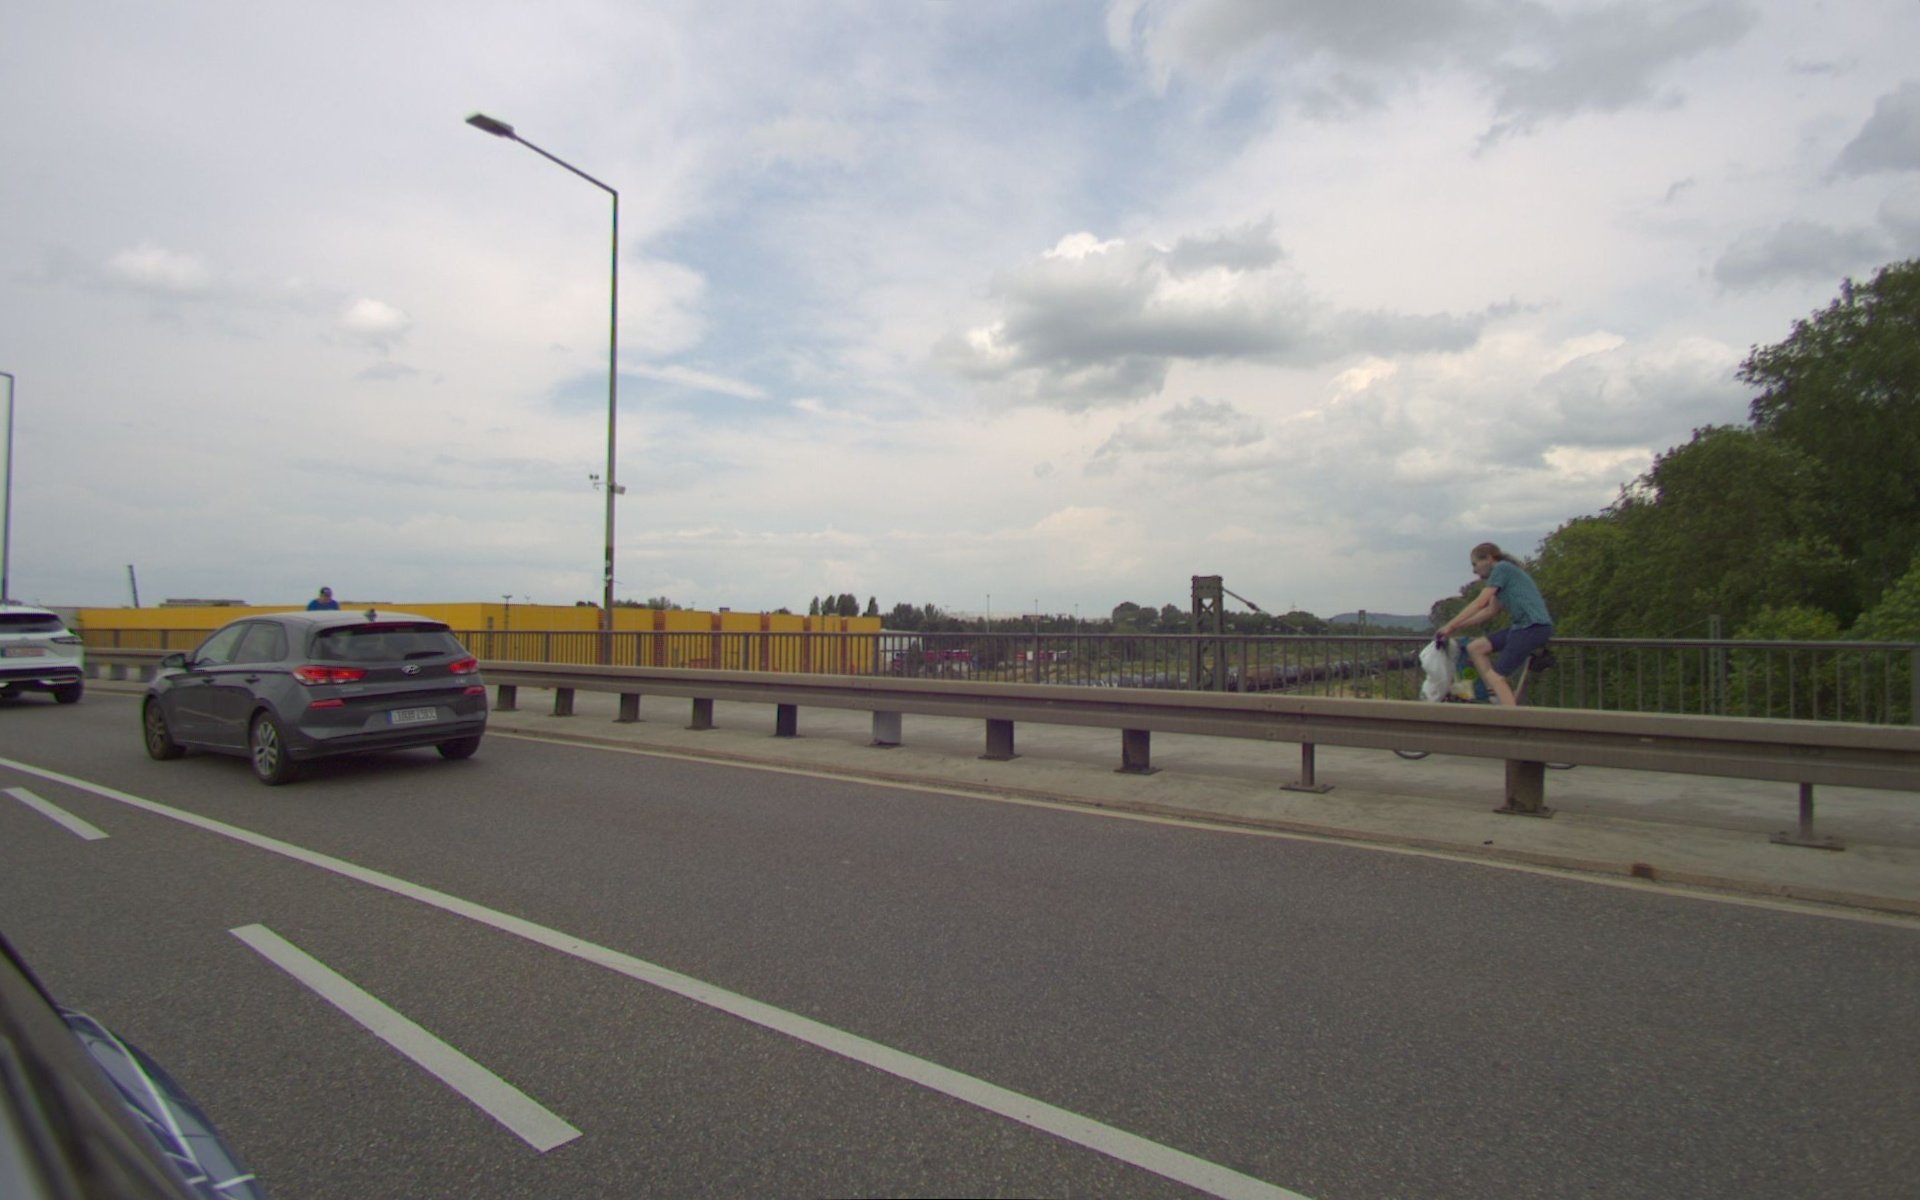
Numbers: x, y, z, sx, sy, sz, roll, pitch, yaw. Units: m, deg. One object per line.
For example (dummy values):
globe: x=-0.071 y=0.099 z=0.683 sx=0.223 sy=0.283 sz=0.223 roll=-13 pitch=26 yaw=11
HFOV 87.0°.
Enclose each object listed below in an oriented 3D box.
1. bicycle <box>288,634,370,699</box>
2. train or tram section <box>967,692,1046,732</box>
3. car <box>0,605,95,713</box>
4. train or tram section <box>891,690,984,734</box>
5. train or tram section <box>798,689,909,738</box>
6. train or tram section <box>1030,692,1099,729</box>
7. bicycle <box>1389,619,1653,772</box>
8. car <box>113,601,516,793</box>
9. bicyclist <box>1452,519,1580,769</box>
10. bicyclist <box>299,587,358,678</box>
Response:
bicycle: x=-11.018 y=1.135 z=17.655 sx=1.804 sy=1.053 sz=0.489 roll=-1 pitch=0 yaw=33
train or tram section: x=5.364 y=12.422 z=113.166 sx=2.079 sy=4.127 sz=12.603 roll=0 pitch=-5 yaw=37
car: x=-16.275 y=0.912 z=16.601 sx=4.759 sy=1.605 sz=1.925 roll=-1 pitch=0 yaw=33
train or tram section: x=-2.098 y=11.376 z=103.061 sx=2.096 sy=4.127 sz=12.603 roll=0 pitch=-5 yaw=37
train or tram section: x=-9.549 y=10.336 z=92.933 sx=1.997 sy=4.127 sz=12.603 roll=0 pitch=-5 yaw=37
train or tram section: x=12.840 y=13.447 z=123.267 sx=2.079 sy=4.127 sz=12.603 roll=0 pitch=-5 yaw=37
bicycle: x=4.374 y=0.693 z=7.958 sx=1.757 sy=1.075 sz=0.640 roll=-1 pitch=0 yaw=34
car: x=-6.397 y=0.772 z=9.861 sx=4.372 sy=1.488 sz=1.793 roll=-1 pitch=0 yaw=35
bicyclist: x=4.369 y=0.322 z=7.938 sx=0.794 sy=1.822 sz=0.841 roll=-1 pitch=0 yaw=34
bicyclist: x=-11.055 y=0.553 z=17.730 sx=0.754 sy=1.551 sz=0.605 roll=-1 pitch=0 yaw=32
